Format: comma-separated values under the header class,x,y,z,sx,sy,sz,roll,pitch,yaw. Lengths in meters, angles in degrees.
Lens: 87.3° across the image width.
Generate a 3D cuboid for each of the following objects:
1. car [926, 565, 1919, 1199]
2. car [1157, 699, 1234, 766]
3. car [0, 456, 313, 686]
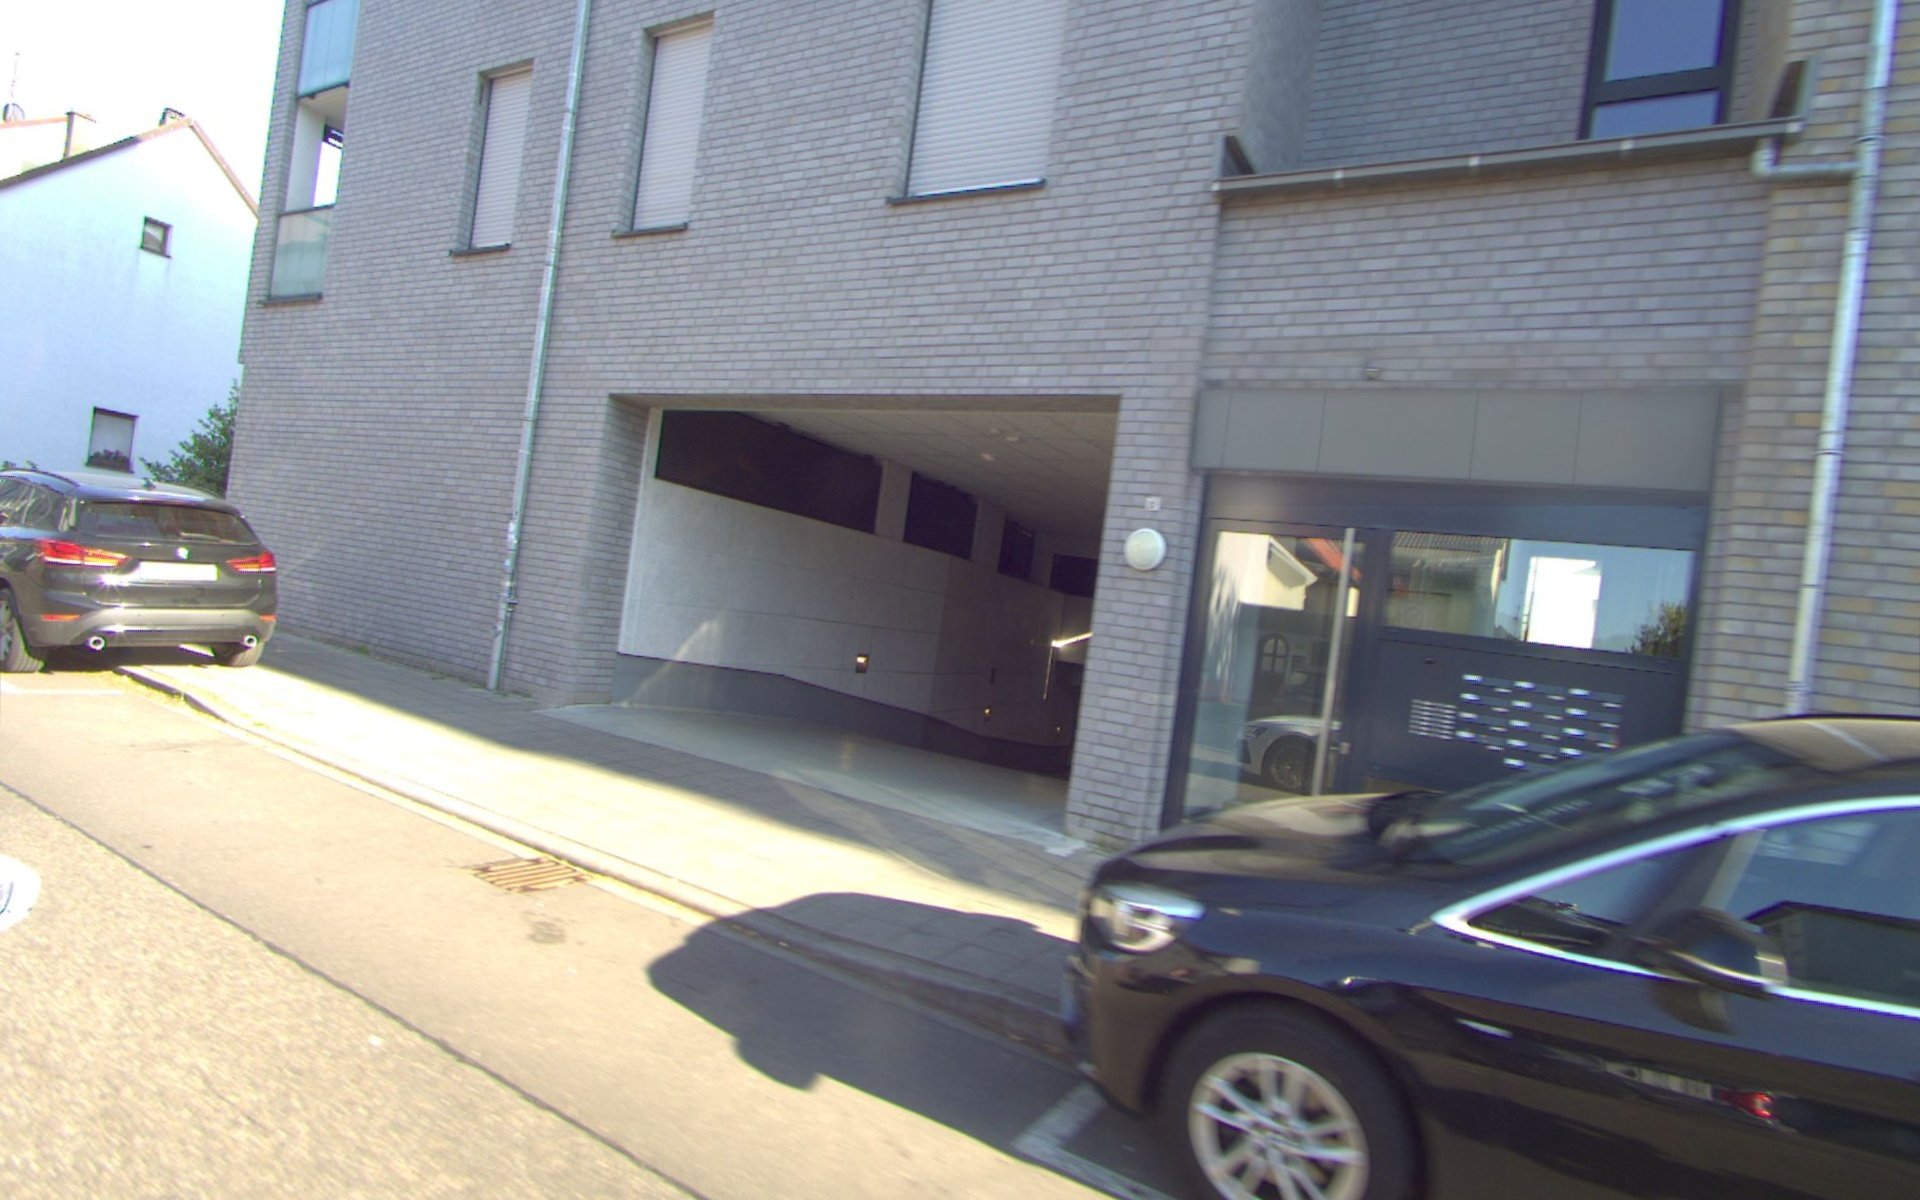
class,x,y,z,sx,sy,sz,roll,pitch,yaw
car,2.510,1.112,2.775,4.680,1.672,1.998,8,-1,29
car,7.680,4.218,32.560,1.666,1.679,4.001,8,-1,22
car,-8.231,-0.410,9.371,4.546,1.657,1.856,8,2,32
